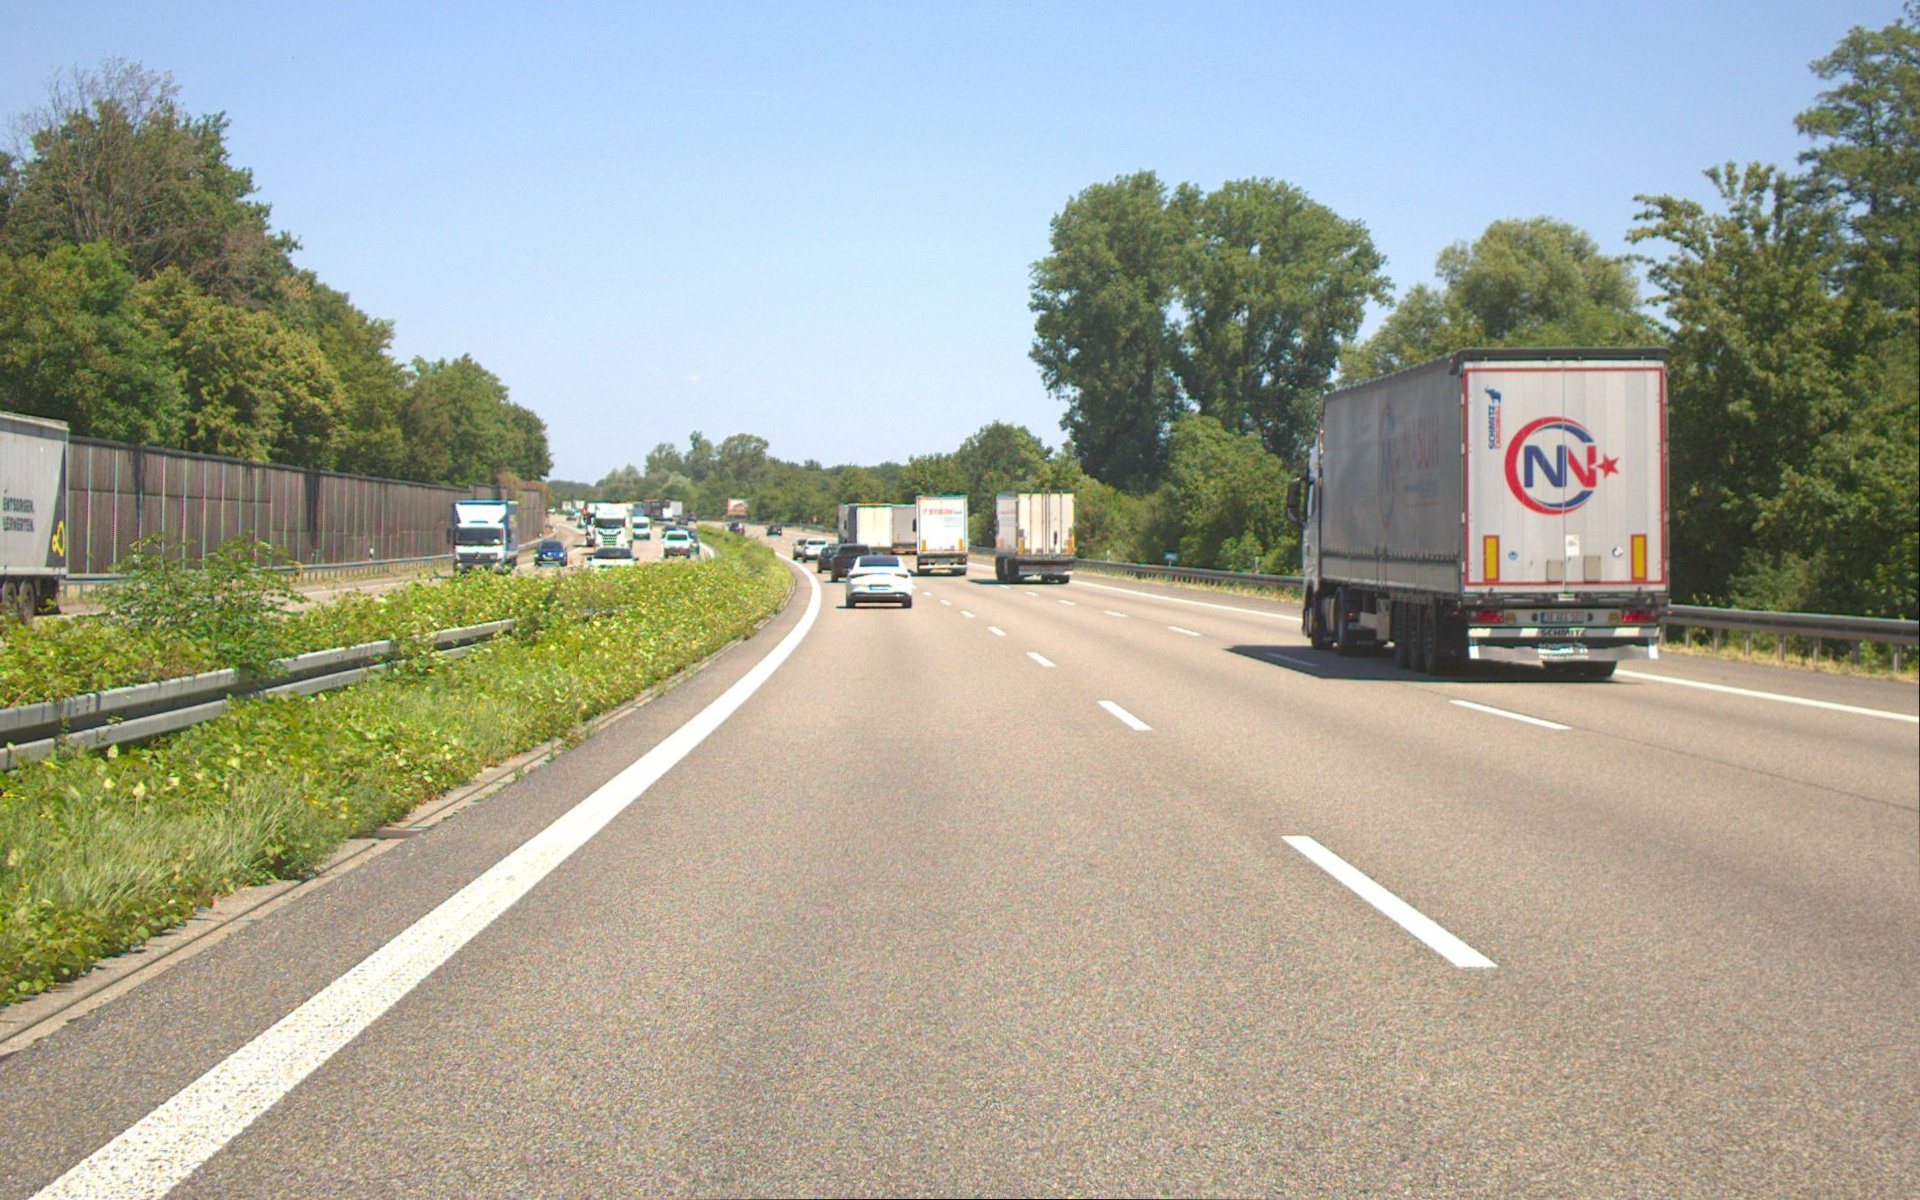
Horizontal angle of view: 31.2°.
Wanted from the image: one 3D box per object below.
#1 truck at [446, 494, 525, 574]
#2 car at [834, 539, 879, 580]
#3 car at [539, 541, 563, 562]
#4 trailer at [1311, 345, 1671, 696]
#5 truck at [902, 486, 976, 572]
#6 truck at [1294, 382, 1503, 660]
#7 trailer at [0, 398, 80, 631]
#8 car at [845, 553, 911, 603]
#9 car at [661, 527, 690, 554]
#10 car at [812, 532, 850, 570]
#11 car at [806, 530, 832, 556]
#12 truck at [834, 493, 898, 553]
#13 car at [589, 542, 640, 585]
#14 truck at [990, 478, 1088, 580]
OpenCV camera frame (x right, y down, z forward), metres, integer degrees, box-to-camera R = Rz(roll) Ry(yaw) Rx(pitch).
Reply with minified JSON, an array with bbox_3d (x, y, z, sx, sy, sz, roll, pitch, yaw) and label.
[{"bbox_3d":[-22.227,-3.088,161.430,2.833,3.597,8.746,0,1,-2],"label":"truck"},{"bbox_3d":[-4.648,-1.830,153.783,1.993,1.766,4.001,0,1,-2],"label":"car"},{"bbox_3d":[-24.796,-2.945,208.589,1.279,1.251,3.029,0,1,-3],"label":"car"},{"bbox_3d":[7.182,-1.076,48.867,2.624,4.246,14.062,0,1,-1],"label":"trailer"},{"bbox_3d":[-1.143,-3.628,177.977,3.359,4.296,10.830,0,1,-3],"label":"truck"},{"bbox_3d":[7.047,-1.258,55.871,2.606,4.272,5.436,0,1,-1],"label":"truck"},{"bbox_3d":[-18.169,-1.506,59.974,2.484,4.121,13.655,0,1,-2],"label":"trailer"},{"bbox_3d":[-2.256,-0.623,95.363,1.715,1.365,3.375,0,1,1],"label":"car"},{"bbox_3d":[-20.719,-4.338,250.334,1.926,1.939,4.610,0,1,-2],"label":"car"},{"bbox_3d":[-7.059,-2.674,187.239,1.993,2.007,4.001,0,1,-3],"label":"car"},{"bbox_3d":[-9.730,-3.913,237.338,1.723,1.777,4.001,0,1,-3],"label":"car"},{"bbox_3d":[-7.022,-5.703,255.543,3.579,4.296,12.193,0,1,-7],"label":"truck"},{"bbox_3d":[-13.083,-1.395,130.338,1.583,1.583,4.000,0,1,-1],"label":"car"},{"bbox_3d":[3.377,-3.081,150.303,3.492,4.296,10.990,0,1,-3],"label":"truck"}]
